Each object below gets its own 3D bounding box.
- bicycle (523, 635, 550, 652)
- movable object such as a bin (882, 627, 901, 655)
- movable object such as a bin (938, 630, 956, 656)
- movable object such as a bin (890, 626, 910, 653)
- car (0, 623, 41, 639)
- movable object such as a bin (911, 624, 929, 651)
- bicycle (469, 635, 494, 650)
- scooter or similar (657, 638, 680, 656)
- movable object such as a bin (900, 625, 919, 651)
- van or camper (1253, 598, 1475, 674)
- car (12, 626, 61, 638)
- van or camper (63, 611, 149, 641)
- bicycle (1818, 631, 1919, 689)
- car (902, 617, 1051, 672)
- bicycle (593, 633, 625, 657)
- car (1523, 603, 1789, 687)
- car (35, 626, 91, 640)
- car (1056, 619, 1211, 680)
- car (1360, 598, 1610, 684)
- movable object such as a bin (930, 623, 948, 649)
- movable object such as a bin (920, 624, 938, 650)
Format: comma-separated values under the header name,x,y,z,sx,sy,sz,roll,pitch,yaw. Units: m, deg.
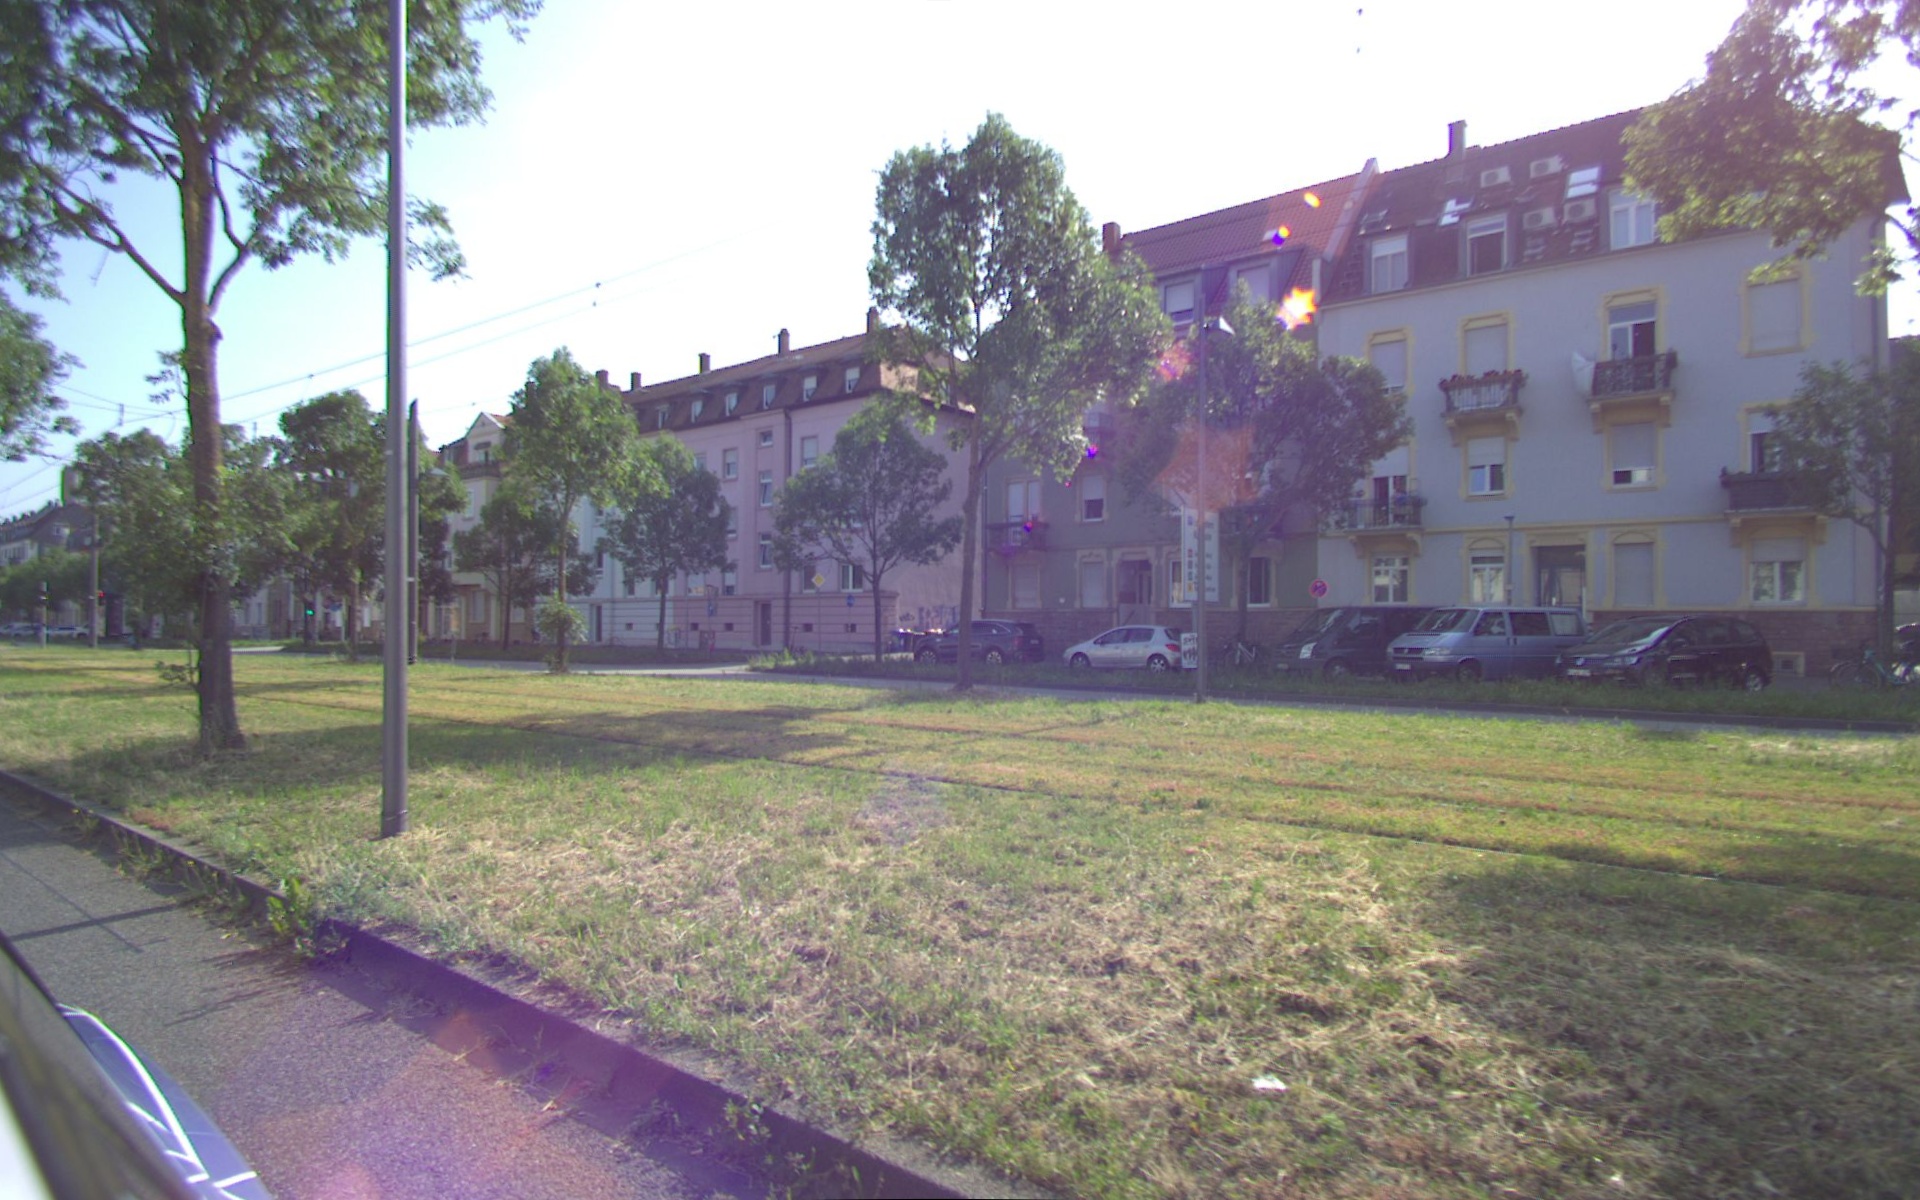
name,x,y,z,sx,sy,sz,roll,pitch,yaw
bicycle,-23.669,2.434,56.600,1.944,0.863,0.443,0,1,37
movable object such as a bin,-3.138,1.865,46.464,0.639,1.220,0.580,-1,1,36
movable object such as a bin,-0.636,2.107,49.785,0.639,1.220,0.580,-1,1,36
movable object such as a bin,-2.776,1.830,46.965,0.639,1.220,0.580,-1,4,36
car,-112.924,3.659,120.478,4.867,1.739,1.863,-1,1,-18
movable object such as a bin,-1.900,1.775,48.126,0.639,1.220,0.580,-1,1,36
bicycle,-28.713,2.545,60.718,1.944,0.795,0.433,0,1,37
scooter or similar,-14.009,2.247,48.612,0.596,0.819,1.223,-2,1,-42
movable object such as a bin,-2.368,1.777,47.514,0.639,1.220,0.580,-1,1,36
van or camper,9.861,0.816,24.779,4.768,1.635,2.008,-1,1,-15
car,-102.338,3.538,112.127,3.624,1.251,1.667,-1,1,-18
van or camper,-81.277,2.454,96.378,5.824,2.593,2.206,-1,1,-18
bicycle,17.530,1.126,19.076,1.991,1.057,0.463,-1,1,24
car,0.517,1.451,34.132,4.766,1.640,1.976,-1,1,36
bicycle,-18.132,2.317,52.255,1.944,1.136,0.598,-1,1,37
car,13.869,0.832,20.246,4.401,1.430,1.981,-1,1,-15
car,-92.073,3.376,103.889,3.946,1.326,1.667,-1,1,-18
car,5.133,1.433,30.198,4.147,1.640,1.873,-1,1,36
car,11.643,0.827,22.451,5.132,1.635,2.064,-1,1,-22
movable object such as a bin,-1.039,1.742,49.285,0.639,1.220,0.580,-1,1,36
movable object such as a bin,-1.508,1.775,48.633,0.639,1.220,0.580,-1,1,36
